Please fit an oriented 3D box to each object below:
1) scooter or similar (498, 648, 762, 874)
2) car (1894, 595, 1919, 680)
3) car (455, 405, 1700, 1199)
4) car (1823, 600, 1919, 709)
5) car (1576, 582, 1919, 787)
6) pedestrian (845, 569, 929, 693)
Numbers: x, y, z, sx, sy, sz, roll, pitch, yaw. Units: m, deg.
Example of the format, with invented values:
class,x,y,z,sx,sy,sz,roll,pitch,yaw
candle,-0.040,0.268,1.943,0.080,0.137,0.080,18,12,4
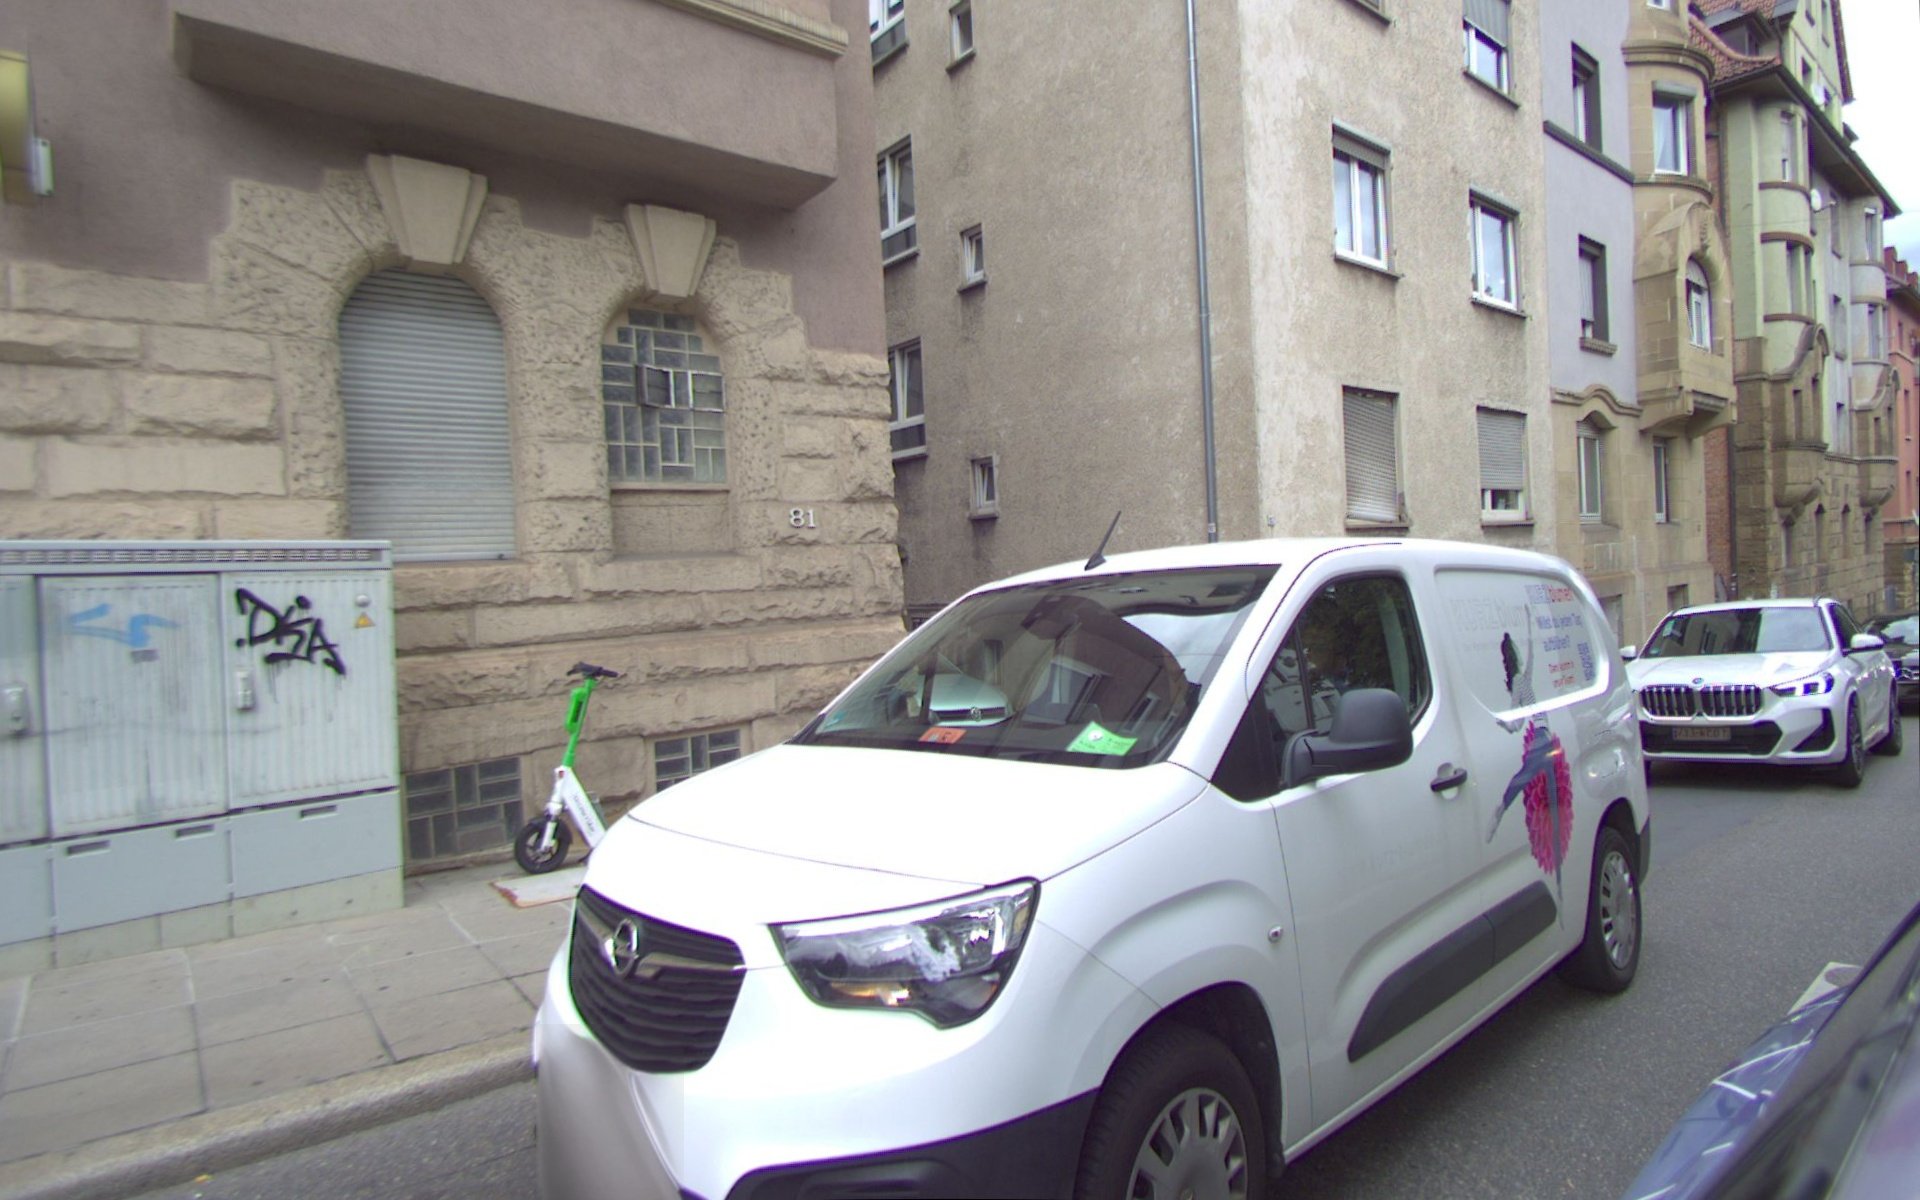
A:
class,x,y,z,sx,sy,sz,roll,pitch,yaw
scooter or similar,-1.929,0.883,6.008,1.396,1.118,0.528,-1,1,-38
car,19.486,0.608,19.226,4.226,1.534,1.935,-1,-3,-40
car,0.911,0.640,3.740,4.597,1.798,1.977,-1,-3,-42
car,14.142,0.697,14.607,4.133,1.395,1.882,-1,-3,-41
car,7.900,0.697,9.959,4.276,1.576,1.856,-1,-4,-42
pedestrian,-1.056,0.417,14.581,0.771,1.666,0.810,-7,5,-39
